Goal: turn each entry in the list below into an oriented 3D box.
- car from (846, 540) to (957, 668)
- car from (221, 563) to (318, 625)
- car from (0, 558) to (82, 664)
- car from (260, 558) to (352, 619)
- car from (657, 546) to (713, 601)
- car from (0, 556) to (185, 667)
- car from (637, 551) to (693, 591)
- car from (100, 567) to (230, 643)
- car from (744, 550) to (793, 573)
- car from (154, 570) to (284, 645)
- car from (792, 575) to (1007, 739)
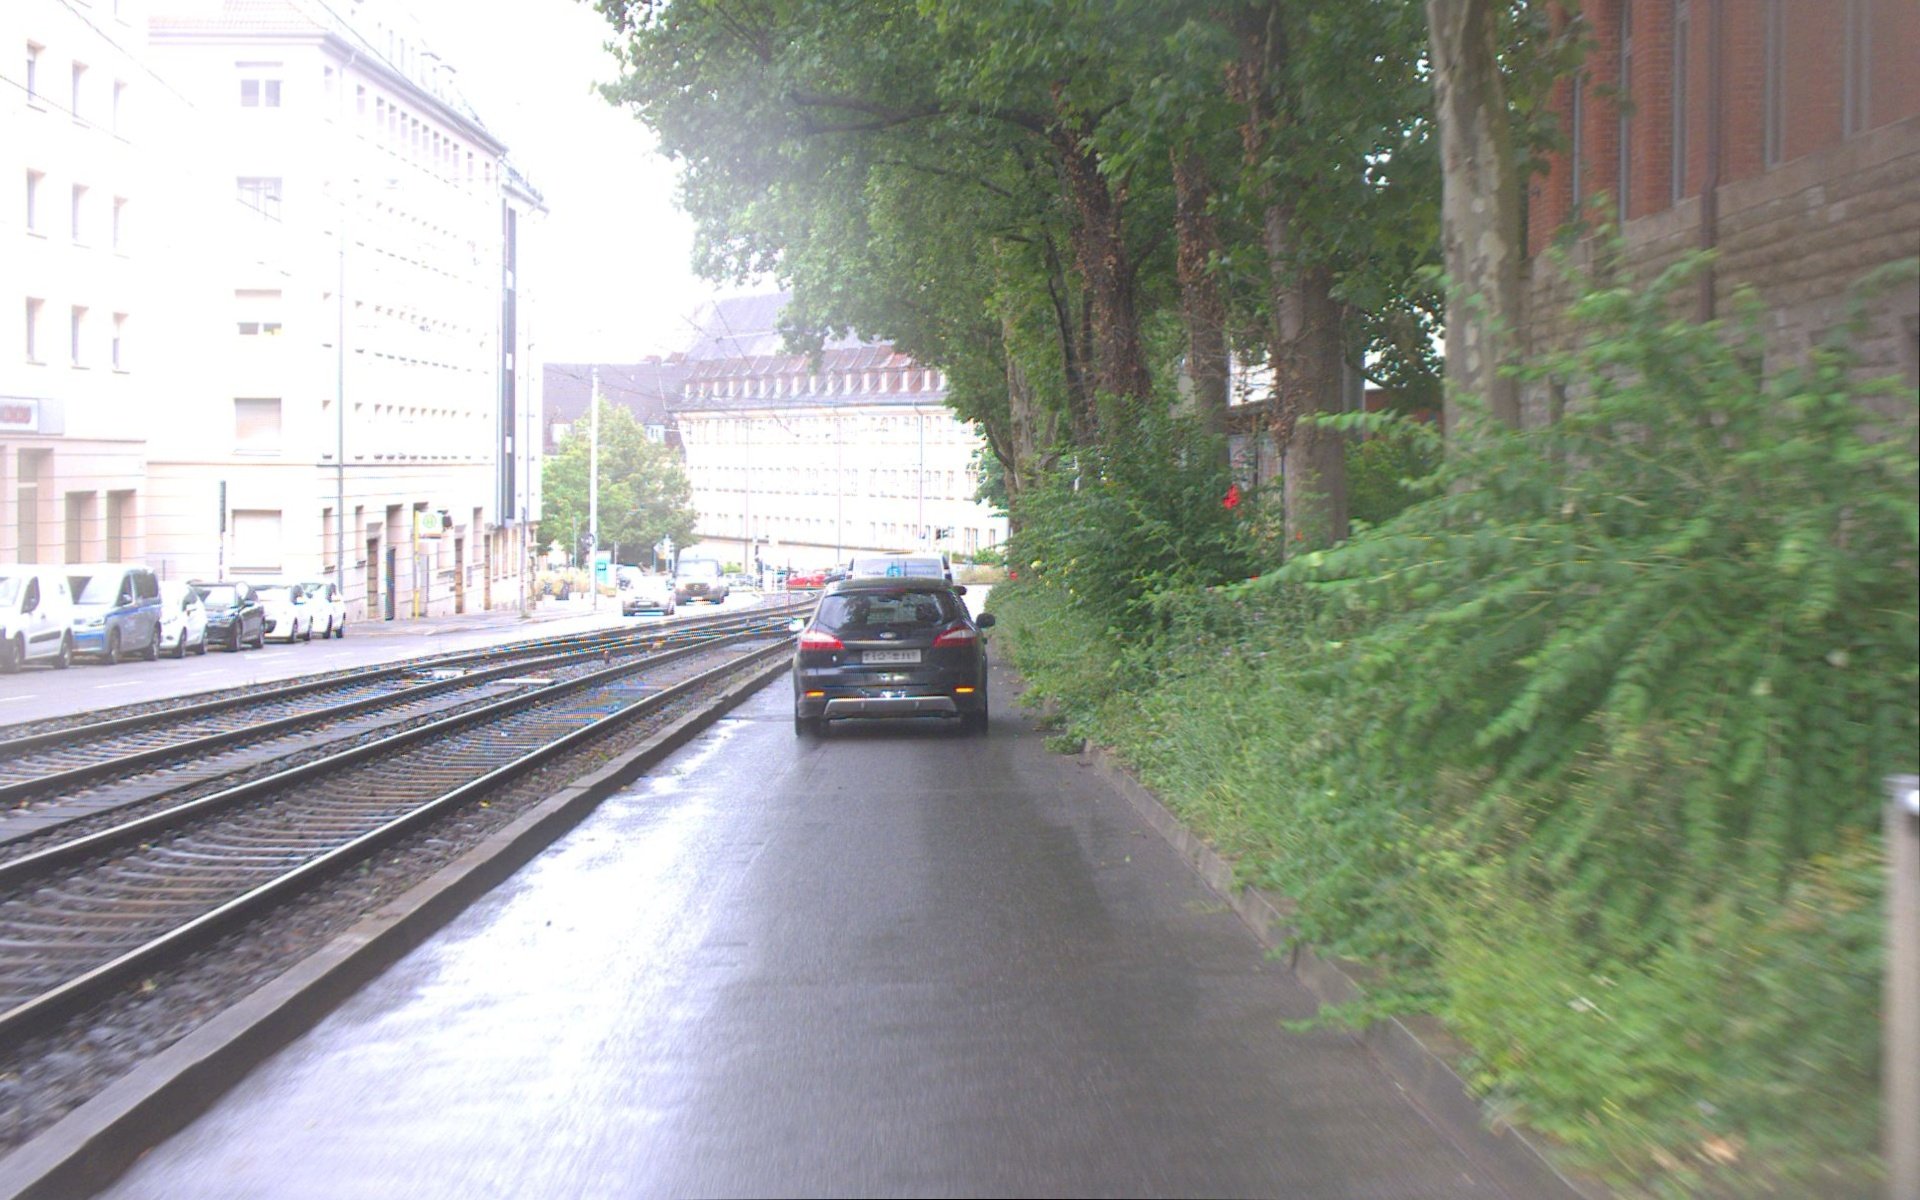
[{"bbox_3d":[-0.984,0.040,56.046,1.740,2.007,3.904,0,1,-2],"label":"car"},{"bbox_3d":[-16.328,-0.163,81.444,1.703,1.392,3.936,1,1,-3],"label":"car"},{"bbox_3d":[-16.179,0.156,57.423,1.867,1.711,4.460,0,1,0],"label":"car"},{"bbox_3d":[-16.309,-0.296,85.850,1.708,1.445,3.542,2,1,-2],"label":"car"},{"bbox_3d":[-12.486,-1.187,156.360,1.993,2.443,5.998,0,0,1],"label":"car"},{"bbox_3d":[-16.069,0.168,63.332,1.994,1.898,5.459,2,1,4],"label":"car"},{"bbox_3d":[-11.198,-1.125,130.751,1.712,1.457,4.280,-1,1,1],"label":"car"},{"bbox_3d":[-15.859,0.082,68.741,1.691,1.434,4.049,0,1,-1],"label":"car"},{"bbox_3d":[-13.416,-2.667,240.809,1.993,1.537,4.001,-2,1,-27],"label":"car"},{"bbox_3d":[-15.963,0.147,74.276,1.813,1.494,4.583,1,1,0],"label":"car"},{"bbox_3d":[-0.641,0.502,33.322,1.933,1.448,4.318,1,1,-2],"label":"car"}]
